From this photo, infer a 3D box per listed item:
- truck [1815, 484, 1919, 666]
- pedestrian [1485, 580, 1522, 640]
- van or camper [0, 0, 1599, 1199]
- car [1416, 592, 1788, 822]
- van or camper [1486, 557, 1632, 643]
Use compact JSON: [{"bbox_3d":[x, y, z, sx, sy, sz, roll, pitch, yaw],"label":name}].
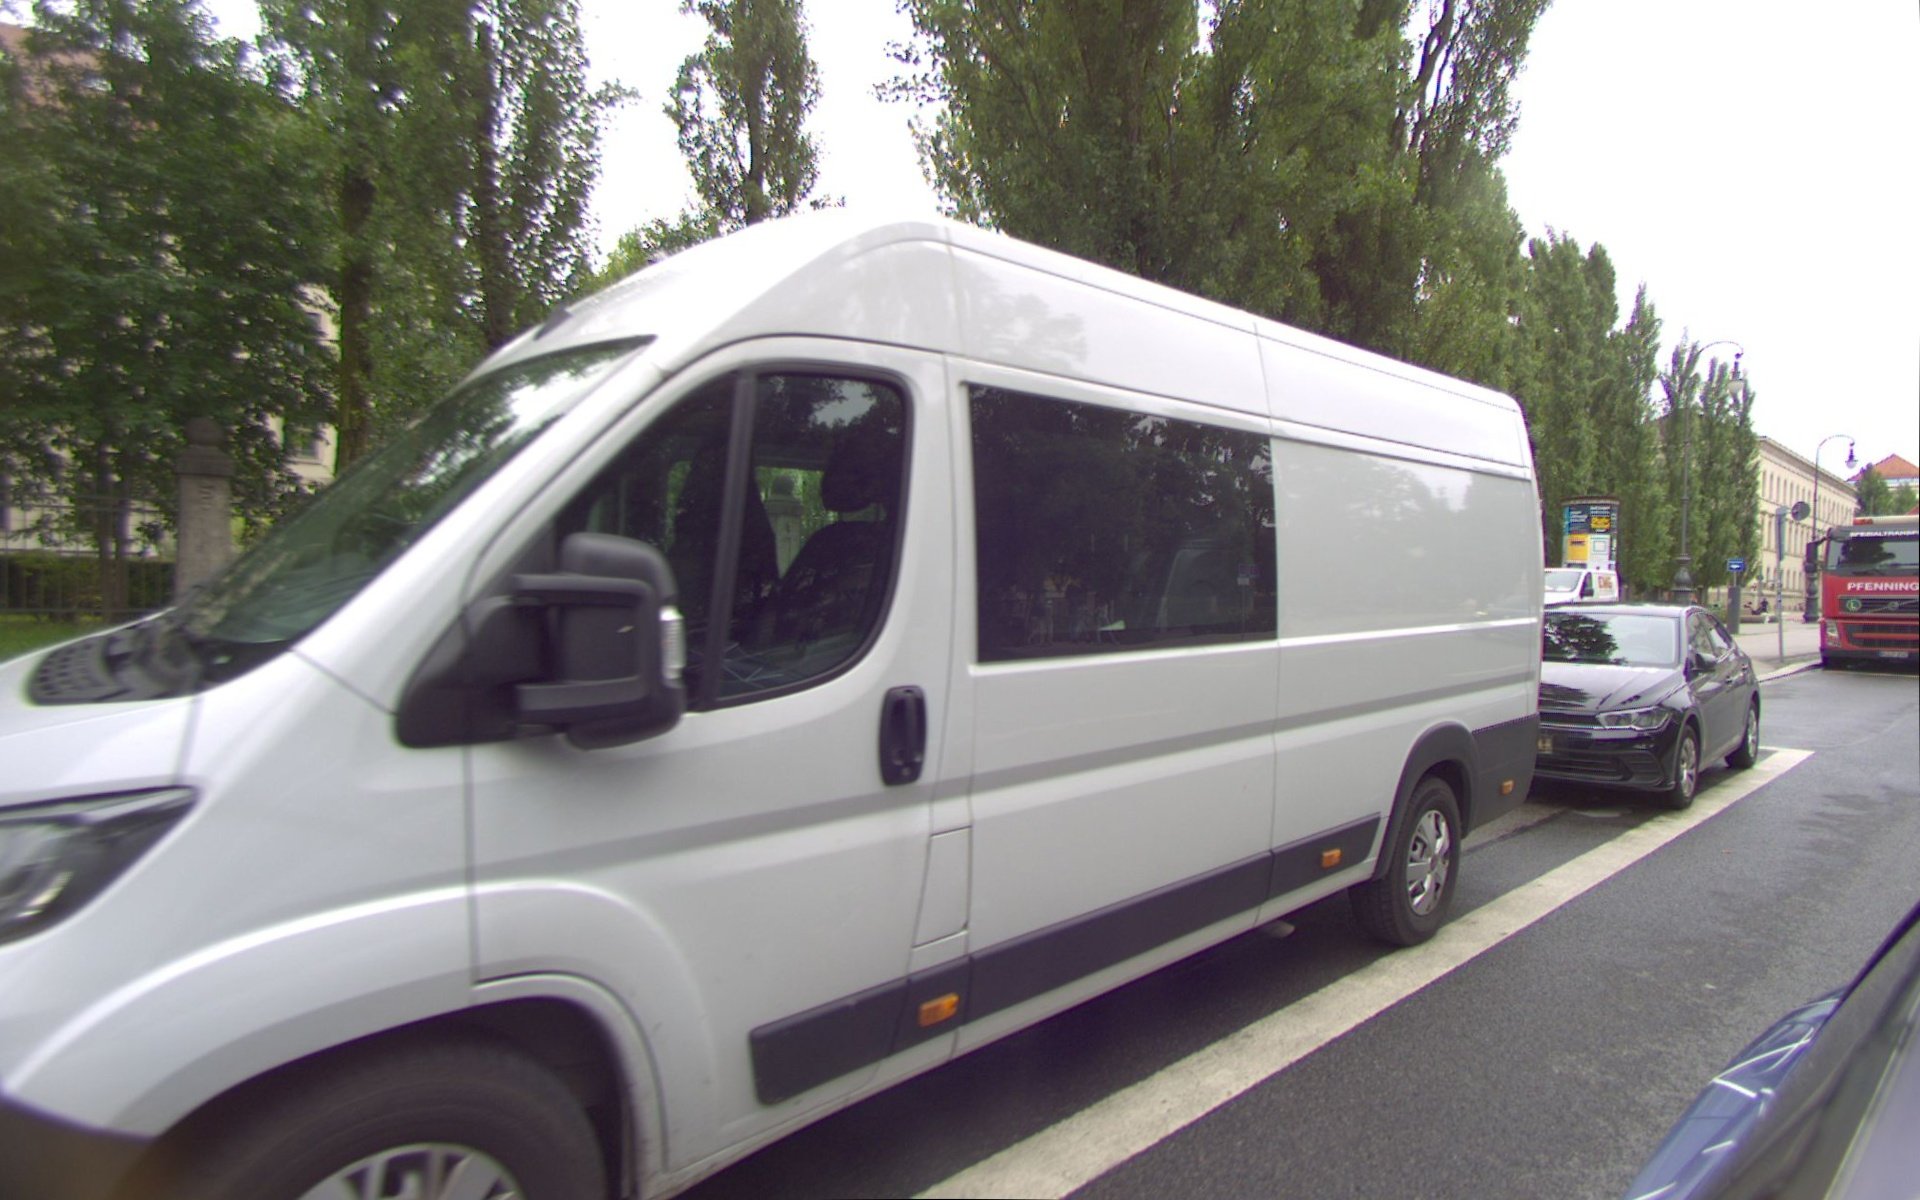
[{"bbox_3d":[22.602,-0.478,23.564,10.103,3.609,2.849,0,0,-43],"label":"truck"},{"bbox_3d":[15.820,0.275,29.449,0.742,1.715,0.717,1,1,-42],"label":"pedestrian"},{"bbox_3d":[0.163,0.066,3.856,6.306,2.572,2.142,0,1,-42],"label":"van or camper"},{"bbox_3d":[5.491,0.681,8.444,3.932,1.438,1.678,0,1,-43],"label":"car"},{"bbox_3d":[15.765,0.001,26.536,4.902,2.039,2.006,0,0,-43],"label":"van or camper"}]
